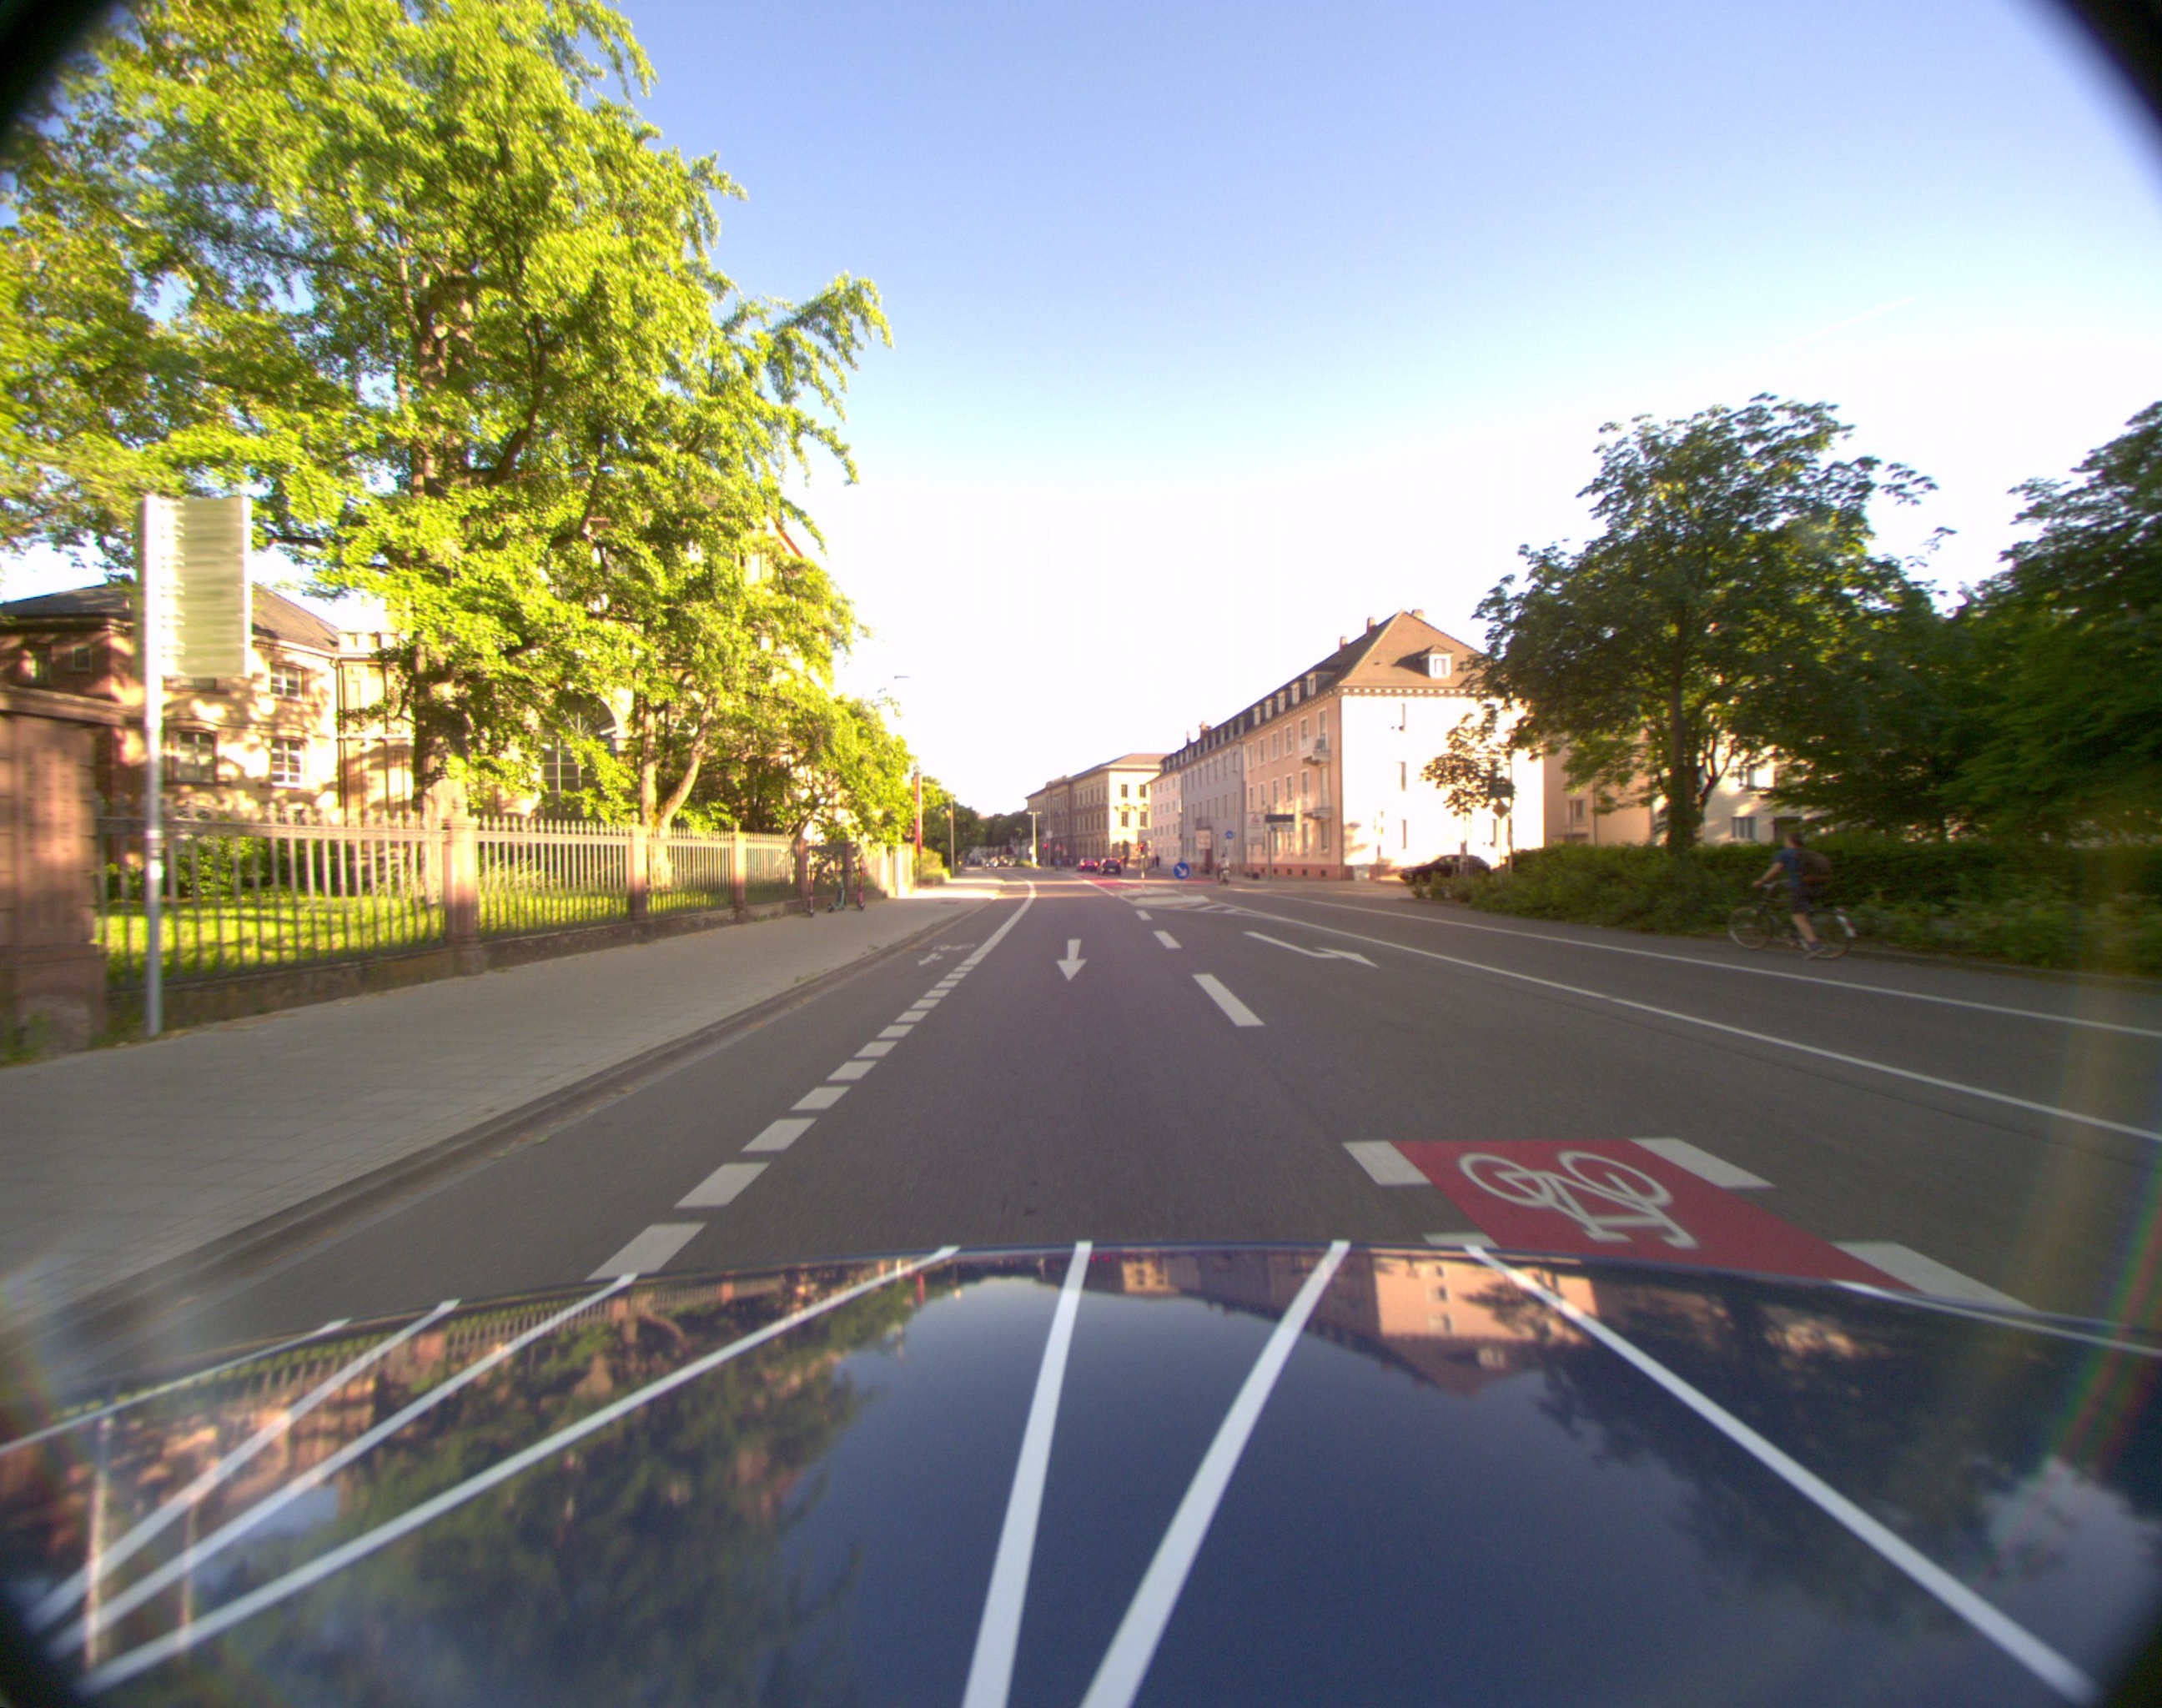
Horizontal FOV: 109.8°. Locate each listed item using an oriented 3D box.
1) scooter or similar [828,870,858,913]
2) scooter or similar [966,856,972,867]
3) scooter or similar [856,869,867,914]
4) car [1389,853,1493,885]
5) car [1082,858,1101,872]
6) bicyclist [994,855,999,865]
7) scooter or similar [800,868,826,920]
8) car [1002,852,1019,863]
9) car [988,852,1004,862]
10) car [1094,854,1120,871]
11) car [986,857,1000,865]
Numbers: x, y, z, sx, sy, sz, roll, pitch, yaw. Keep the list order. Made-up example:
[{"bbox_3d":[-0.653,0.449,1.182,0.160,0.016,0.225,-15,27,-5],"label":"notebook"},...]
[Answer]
[{"bbox_3d":[-6.651,1.035,21.302,0.482,1.116,1.336,0,0,-3],"label":"scooter or similar"},{"bbox_3d":[-13.051,0.881,88.521,0.557,1.301,1.831,-1,0,-8],"label":"scooter or similar"},{"bbox_3d":[-6.377,1.070,22.120,0.298,1.233,1.159,0,0,-16],"label":"scooter or similar"},{"bbox_3d":[19.289,0.766,40.843,4.586,1.668,2.060,0,0,1],"label":"car"},{"bbox_3d":[1.121,1.166,81.988,1.816,1.411,4.554,0,0,-2],"label":"car"},{"bbox_3d":[-14.276,1.013,128.608,0.806,1.598,0.824,0,0,-13],"label":"bicyclist"},{"bbox_3d":[-6.824,0.988,19.394,0.550,1.235,1.555,0,0,-17],"label":"scooter or similar"},{"bbox_3d":[-12.173,0.617,130.666,2.076,1.904,5.026,0,0,-16],"label":"car"},{"bbox_3d":[-15.659,0.560,139.845,1.999,1.739,4.740,0,0,-18],"label":"car"},{"bbox_3d":[2.258,0.694,66.094,1.763,1.450,3.998,0,0,-5],"label":"car"},{"bbox_3d":[-13.661,1.076,117.651,1.555,1.288,3.633,2,0,-14],"label":"car"}]
